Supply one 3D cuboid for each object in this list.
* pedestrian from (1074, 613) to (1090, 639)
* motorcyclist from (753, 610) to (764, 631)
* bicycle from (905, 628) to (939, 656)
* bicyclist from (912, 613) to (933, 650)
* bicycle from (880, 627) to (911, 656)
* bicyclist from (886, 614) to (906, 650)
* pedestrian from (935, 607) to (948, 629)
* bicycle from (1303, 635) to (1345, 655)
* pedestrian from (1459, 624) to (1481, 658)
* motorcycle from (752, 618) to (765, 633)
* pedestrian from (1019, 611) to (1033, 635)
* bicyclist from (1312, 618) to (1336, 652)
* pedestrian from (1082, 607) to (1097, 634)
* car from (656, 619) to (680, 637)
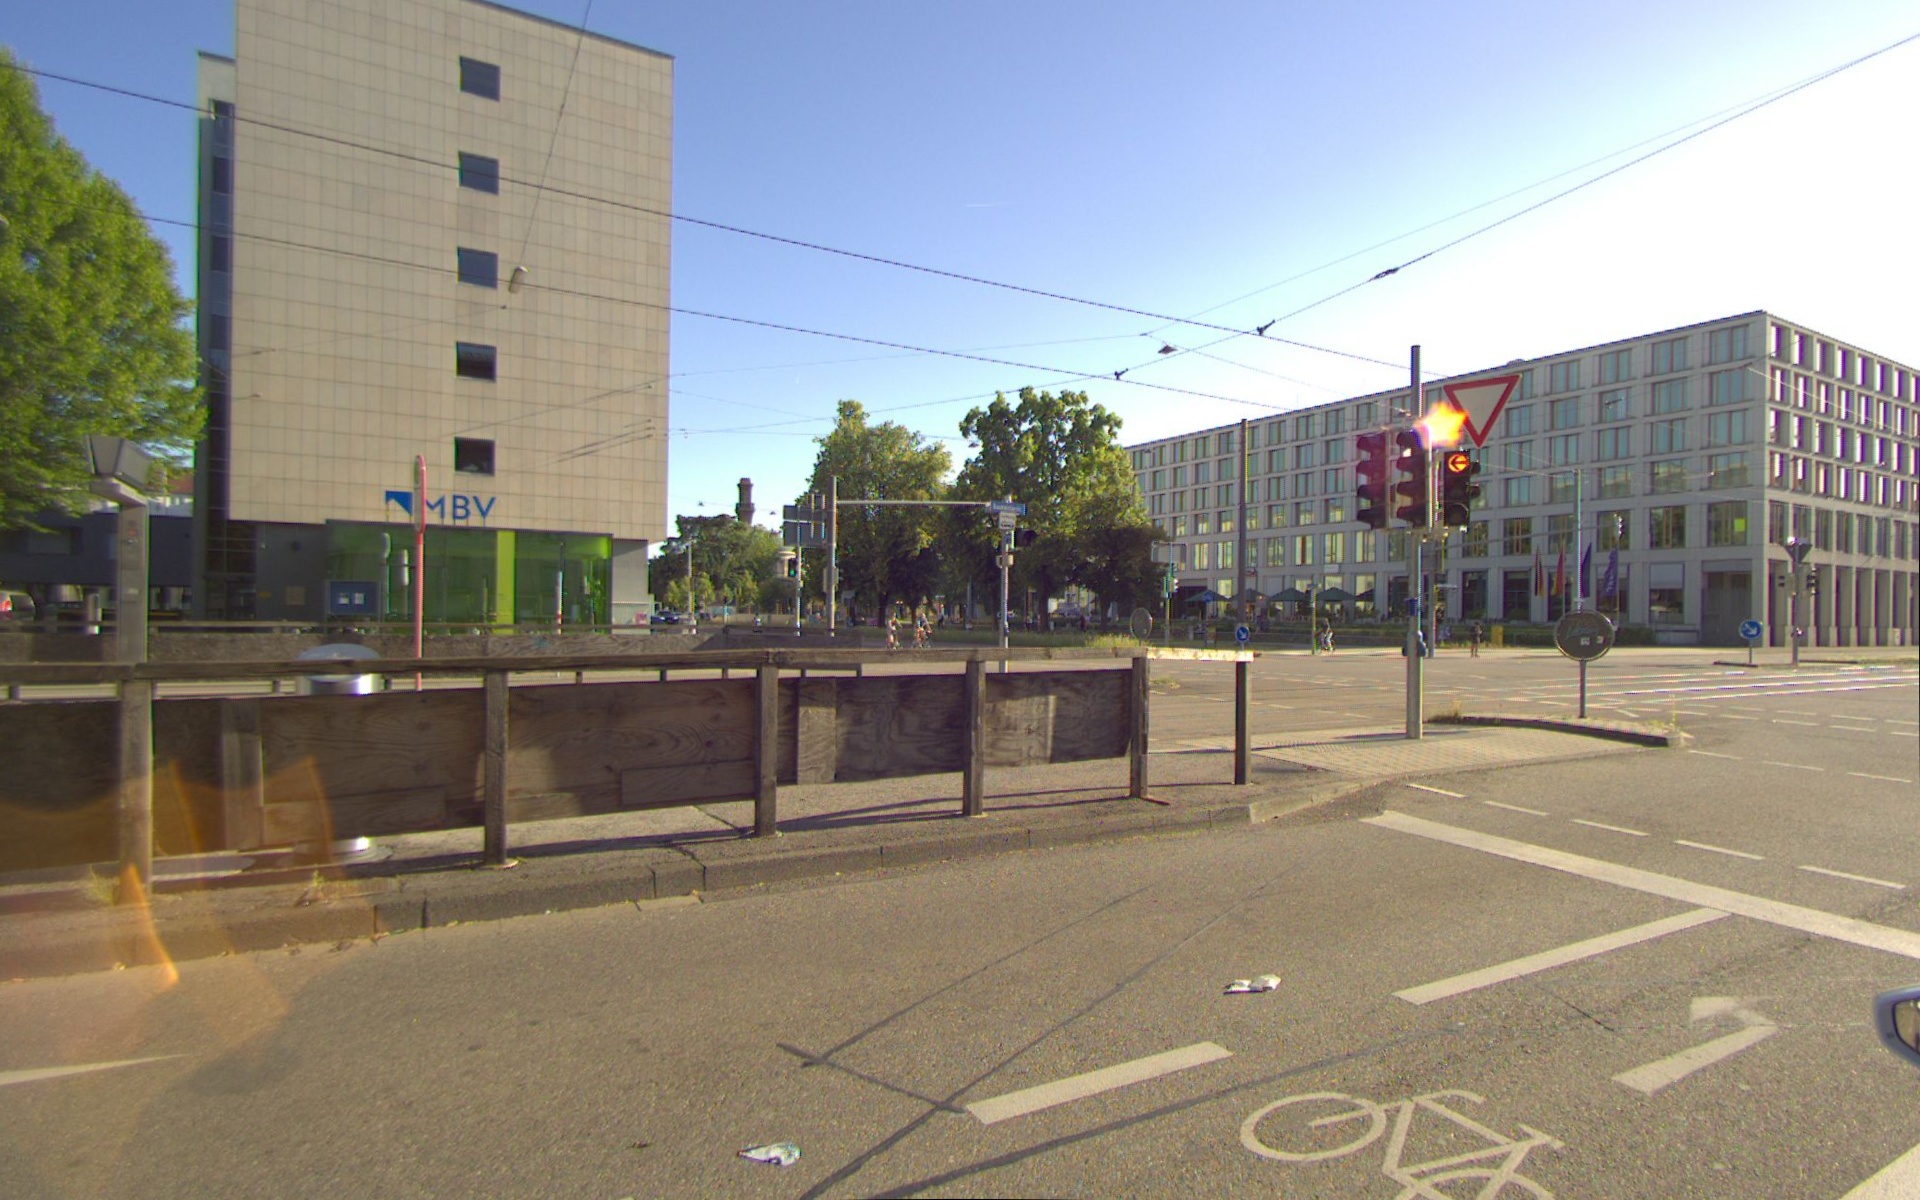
[{"bbox_3d":[9.076,1.920,74.693,0.861,1.925,0.714,2,0,-20],"label":"pedestrian"},{"bbox_3d":[-15.865,1.626,79.097,0.561,1.598,0.642,1,-1,-34],"label":"motorcyclist"},{"bbox_3d":[-1.631,1.788,42.838,0.616,1.148,1.869,1,-1,-31],"label":"bicycle"},{"bbox_3d":[-1.603,1.342,42.811,0.602,1.544,0.709,1,-1,-32],"label":"bicyclist"},{"bbox_3d":[-2.771,1.759,42.847,0.574,1.148,1.776,1,-1,-31],"label":"bicycle"},{"bbox_3d":[-2.738,1.368,42.814,0.647,1.544,0.615,1,-1,-32],"label":"bicyclist"},{"bbox_3d":[-1.701,1.668,92.933,0.816,2.040,0.837,2,0,-32],"label":"pedestrian"},{"bbox_3d":[17.864,2.189,49.316,1.834,0.947,0.760,1,-1,-18],"label":"bicycle"},{"bbox_3d":[24.955,1.992,49.136,0.586,1.610,0.769,1,-1,-37],"label":"pedestrian"},{"bbox_3d":[-15.876,1.971,79.087,0.524,1.153,1.449,1,-1,-34],"label":"motorcycle"},{"bbox_3d":[5.242,1.828,79.537,0.863,1.925,0.714,2,0,-24],"label":"pedestrian"},{"bbox_3d":[17.871,1.705,49.328,0.765,1.610,0.759,-1,0,-16],"label":"bicyclist"},{"bbox_3d":[9.763,1.544,75.637,0.812,2.040,0.841,2,0,-20],"label":"pedestrian"},{"bbox_3d":[-30.266,2.895,104.114,1.611,1.639,3.623,2,0,-28],"label":"car"}]
